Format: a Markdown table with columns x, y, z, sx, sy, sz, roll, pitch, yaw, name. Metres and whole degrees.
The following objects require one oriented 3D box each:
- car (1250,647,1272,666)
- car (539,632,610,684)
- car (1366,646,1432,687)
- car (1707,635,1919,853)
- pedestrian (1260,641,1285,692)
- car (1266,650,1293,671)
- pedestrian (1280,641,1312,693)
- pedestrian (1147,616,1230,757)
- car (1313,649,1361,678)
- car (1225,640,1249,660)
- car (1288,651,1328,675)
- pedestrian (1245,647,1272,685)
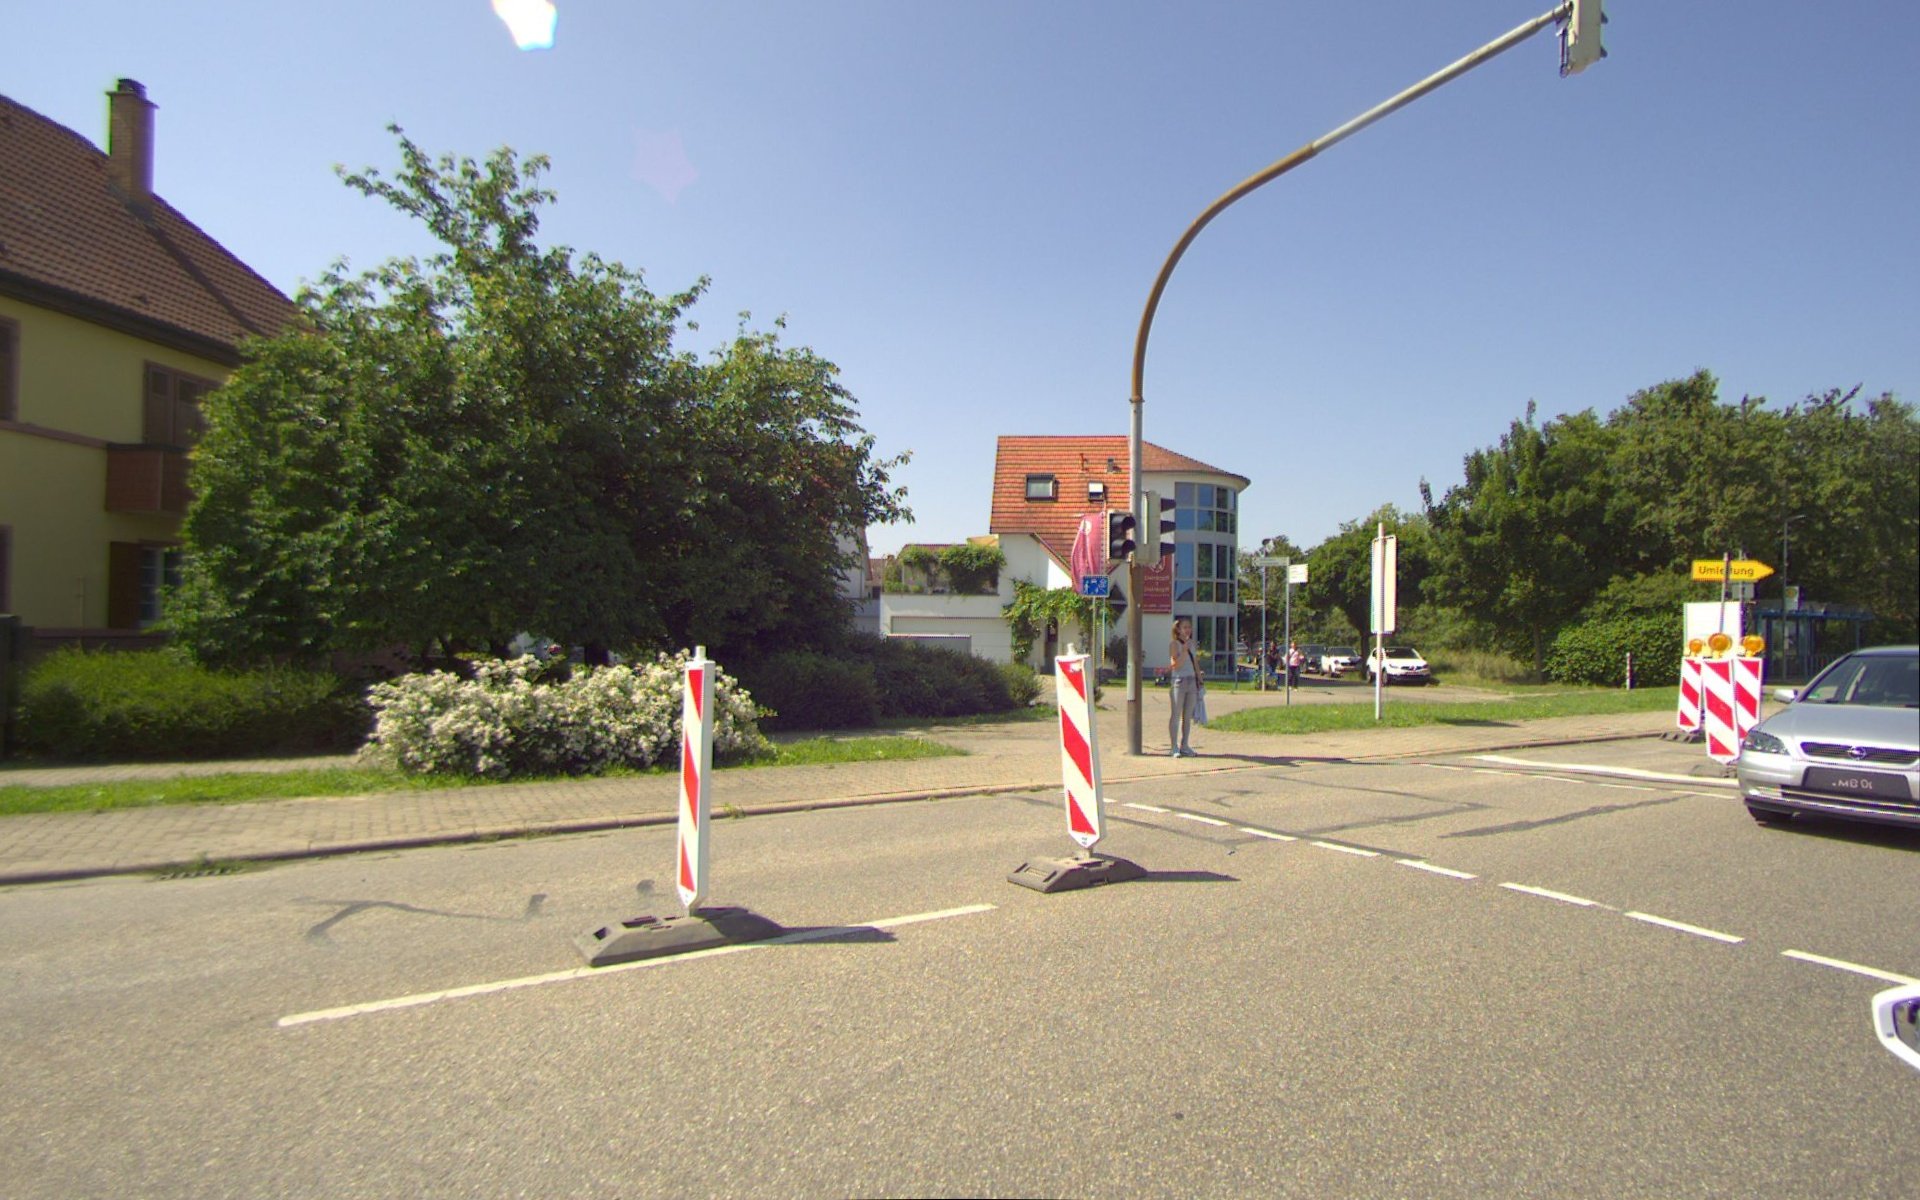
| x | y | z | sx | sy | sz | roll | pitch | yaw | name |
| --- | --- | --- | --- | --- | --- | --- | --- | --- | --- |
| 21.303 | 4.007 | 71.184 | 1.276 | 1.259 | 2.955 | 0 | -2 | 13 | car |
| -12.792 | 1.876 | 33.165 | 1.780 | 1.480 | 3.972 | 1 | -1 | -27 | car |
| 18.734 | 2.815 | 43.008 | 1.769 | 1.589 | 3.585 | 1 | -2 | 10 | car |
| 7.808 | 1.029 | 8.085 | 3.938 | 1.422 | 1.689 | 2 | -2 | -34 | car |
| 11.634 | 2.460 | 37.422 | 0.695 | 1.846 | 0.805 | 1 | -1 | 0 | pedestrian |
| 19.855 | 3.748 | 62.527 | 1.203 | 1.244 | 2.944 | 1 | -2 | 9 | car |
| 11.851 | 2.354 | 35.481 | 0.799 | 1.763 | 0.960 | 1 | -1 | -1 | pedestrian |
| 2.768 | 1.026 | 12.185 | 0.680 | 1.629 | 0.611 | 2 | 2 | -31 | pedestrian |
| 19.387 | 3.261 | 51.722 | 1.649 | 1.366 | 3.383 | 1 | -2 | 8 | car |
| 22.519 | 4.041 | 81.693 | 1.659 | 1.512 | 3.503 | 1 | -2 | 11 | car |
| 19.563 | 3.508 | 56.565 | 1.423 | 1.220 | 3.561 | 1 | -2 | 7 | car |
| 12.803 | 2.839 | 43.083 | 0.906 | 1.587 | 0.789 | 1 | -2 | -4 | pedestrian |
